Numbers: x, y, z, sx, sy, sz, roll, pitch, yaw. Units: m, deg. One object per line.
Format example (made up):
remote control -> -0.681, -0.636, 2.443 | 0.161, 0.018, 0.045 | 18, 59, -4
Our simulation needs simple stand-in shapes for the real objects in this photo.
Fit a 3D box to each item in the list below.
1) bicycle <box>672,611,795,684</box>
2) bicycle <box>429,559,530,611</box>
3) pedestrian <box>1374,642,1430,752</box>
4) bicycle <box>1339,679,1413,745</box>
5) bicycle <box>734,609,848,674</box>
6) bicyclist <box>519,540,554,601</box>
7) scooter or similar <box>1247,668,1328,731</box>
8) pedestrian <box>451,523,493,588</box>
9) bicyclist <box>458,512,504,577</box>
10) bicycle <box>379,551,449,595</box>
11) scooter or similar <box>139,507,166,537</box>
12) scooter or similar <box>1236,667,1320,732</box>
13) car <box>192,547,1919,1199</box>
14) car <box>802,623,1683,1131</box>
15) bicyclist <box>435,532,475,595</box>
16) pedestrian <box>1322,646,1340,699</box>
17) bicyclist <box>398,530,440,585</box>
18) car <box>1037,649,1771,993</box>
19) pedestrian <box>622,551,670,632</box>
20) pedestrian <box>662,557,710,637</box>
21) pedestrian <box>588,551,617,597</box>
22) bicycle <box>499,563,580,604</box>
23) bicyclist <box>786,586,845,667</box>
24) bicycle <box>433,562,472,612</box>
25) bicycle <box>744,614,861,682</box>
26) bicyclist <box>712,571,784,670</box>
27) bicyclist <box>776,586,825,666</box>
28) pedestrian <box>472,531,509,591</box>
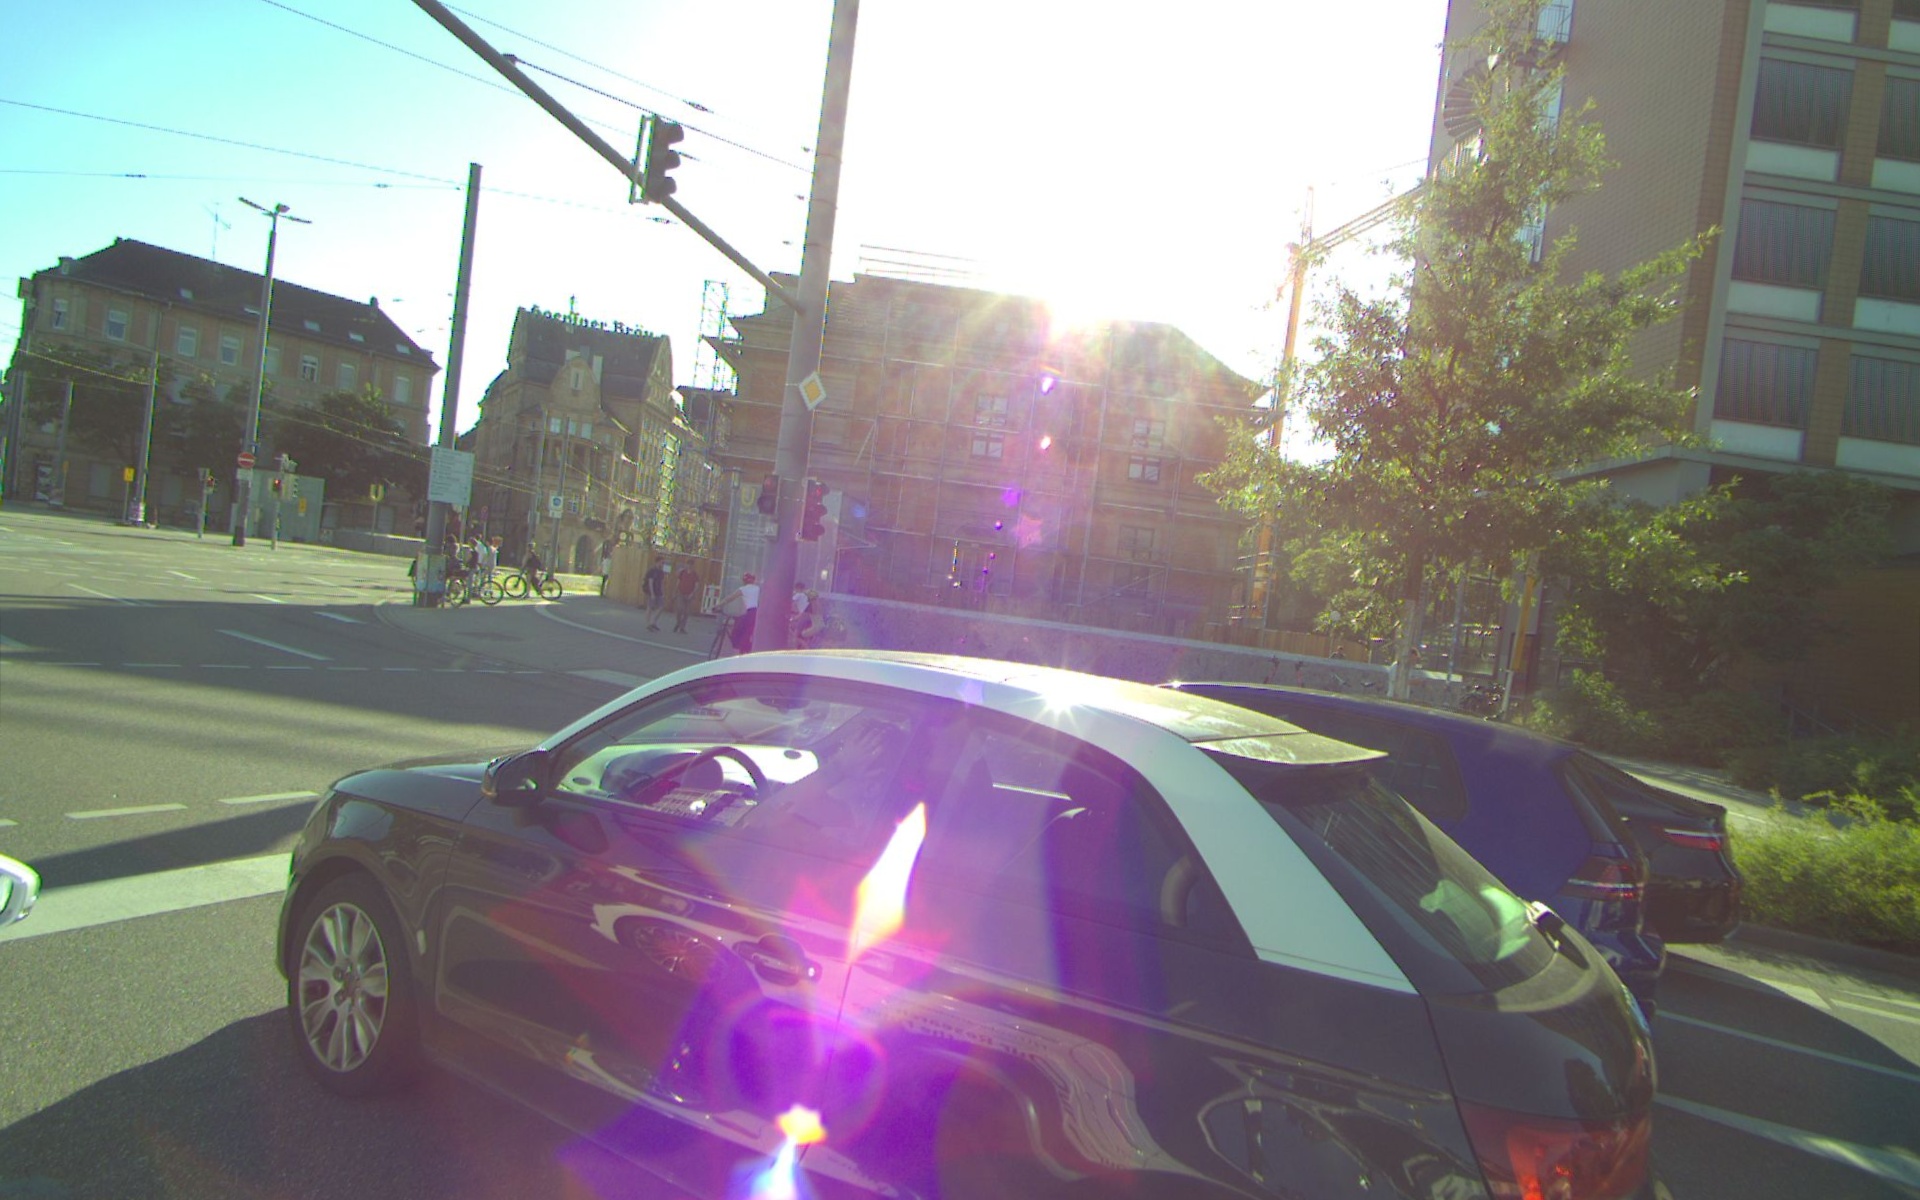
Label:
bicycle -> -3.895, 0.808, 17.255 | 1.999, 0.974, 0.660 | 6, -1, 27
bicycle -> -12.791, -0.396, 26.803 | 2.294, 1.061, 0.696 | 9, -2, -28
pedestrian -> 7.132, 1.540, 16.227 | 0.592, 1.662, 0.677 | 7, 3, 29
bicycle -> 7.392, 1.983, 17.927 | 0.352, 1.015, 1.149 | 8, -2, -29
bicycle -> -3.297, 0.798, 19.708 | 1.997, 0.976, 0.660 | 7, 2, 5
bicyclist -> -13.366, -0.921, 31.758 | 0.785, 1.800, 0.520 | 8, -1, -23
scooter or similar -> 6.293, 1.905, 19.386 | 1.346, 1.007, 0.343 | 7, -1, 13
pedestrian -> -16.371, -1.481, 33.751 | 0.748, 2.037, 0.733 | 7, -1, 25
bicyclist -> -12.745, -1.465, 26.770 | 0.936, 1.575, 0.706 | 8, -1, -27
bicycle -> -16.957, -0.843, 31.227 | 2.278, 1.061, 0.536 | 8, -1, 24
scooter or similar -> -42.136, -4.077, 52.489 | 0.784, 1.392, 1.885 | 8, -2, -44
scooter or similar -> 5.915, 1.840, 18.713 | 1.348, 1.007, 0.342 | 7, -1, 25
car -> -0.245, 0.799, 2.816 | 3.934, 1.420, 1.627 | 6, -2, 32
car -> 1.268, 1.099, 5.348 | 3.934, 1.420, 1.627 | 6, -2, 32
bicyclist -> -12.655, -0.903, 25.190 | 0.702, 1.456, 0.940 | 8, -1, -29
pedestrian -> 12.686, 2.482, 34.382 | 0.369, 1.752, 0.444 | 7, -1, 17
bicyclist -> -16.766, -1.326, 31.181 | 0.930, 1.575, 0.516 | 7, -1, 23
car -> 3.014, 1.382, 7.544 | 4.435, 1.420, 1.727 | 6, -2, 30
pedestrian -> -7.432, -0.201, 23.846 | 0.672, 1.830, 0.672 | 7, 2, 11
pedestrian -> -6.649, -0.055, 24.448 | 0.672, 1.828, 0.672 | 7, -1, 11
pedestrian -> -14.979, -1.082, 42.197 | 0.678, 1.835, 0.649 | 7, -1, 25
bicycle -> -13.269, -0.512, 31.810 | 2.289, 1.063, 0.532 | 5, 2, -25
bicyclist -> -2.580, 0.479, 17.980 | 0.662, 1.330, 0.617 | 7, -1, 27
bicycle -> -12.710, -0.342, 25.161 | 0.693, 1.061, 2.303 | 9, -1, -29
bicycle -> -2.832, 0.846, 18.077 | 1.999, 0.976, 0.659 | 6, 2, 27
bicyclist -> -3.607, 0.357, 17.139 | 0.781, 1.571, 0.668 | 7, -1, 27
bicyclist -> -3.121, 0.515, 19.726 | 0.661, 1.471, 0.618 | 7, -1, 4
pedestrian -> -16.069, -1.341, 34.457 | 0.678, 1.945, 0.649 | 7, -1, 25
